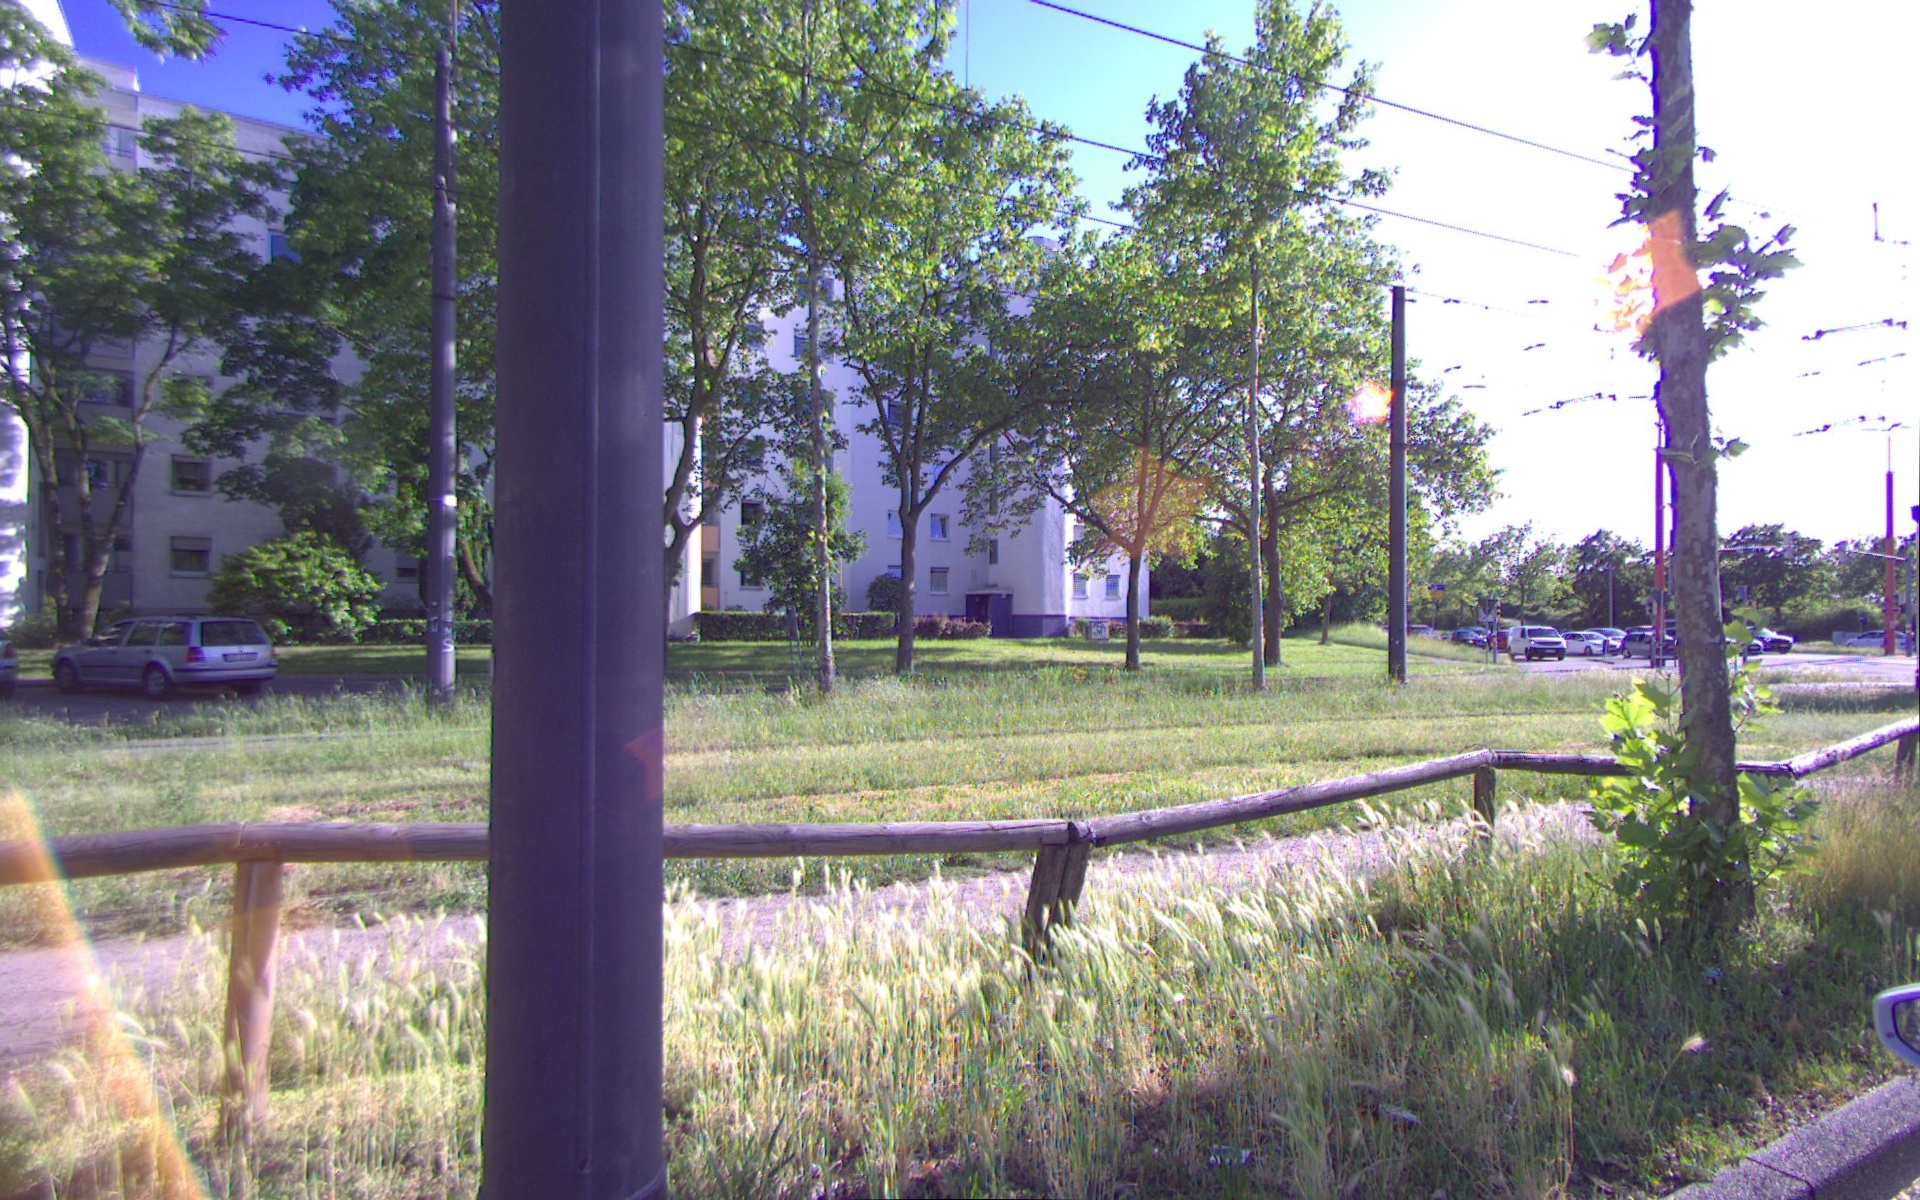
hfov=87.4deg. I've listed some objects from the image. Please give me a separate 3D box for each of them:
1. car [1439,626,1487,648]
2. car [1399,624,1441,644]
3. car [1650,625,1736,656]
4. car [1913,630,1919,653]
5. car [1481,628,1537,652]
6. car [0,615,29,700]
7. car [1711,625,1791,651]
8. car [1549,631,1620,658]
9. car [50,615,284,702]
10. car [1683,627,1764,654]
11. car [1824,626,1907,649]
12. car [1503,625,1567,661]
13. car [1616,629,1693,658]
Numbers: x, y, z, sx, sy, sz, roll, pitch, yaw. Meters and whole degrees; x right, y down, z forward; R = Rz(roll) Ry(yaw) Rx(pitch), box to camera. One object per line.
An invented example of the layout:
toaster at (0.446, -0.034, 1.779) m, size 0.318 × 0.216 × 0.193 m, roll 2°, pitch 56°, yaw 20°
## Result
car at (38.657, 2.817, 77.254) m, size 1.624 × 1.540 × 4.200 m, roll 1°, pitch -1°, yaw 1°
car at (38.639, 2.816, 84.394) m, size 1.624 × 1.540 × 4.200 m, roll 1°, pitch -1°, yaw 1°
car at (42.324, 2.308, 58.106) m, size 1.624 × 1.669 × 4.644 m, roll 1°, pitch -1°, yaw 1°
car at (63.258, 2.684, 63.704) m, size 1.625 × 1.491 × 4.130 m, roll 1°, pitch -1°, yaw -4°
car at (38.444, 2.777, 70.452) m, size 1.624 × 1.540 × 4.200 m, roll 1°, pitch -1°, yaw 1°
car at (-17.985, 0.946, 17.153) m, size 3.567 × 1.421 × 1.581 m, roll 1°, pitch 0°, yaw 20°
car at (48.650, 2.322, 61.897) m, size 1.513 × 1.434 × 4.154 m, roll 1°, pitch -1°, yaw -3°
car at (38.915, 2.756, 62.736) m, size 1.624 × 1.540 × 4.638 m, roll 1°, pitch -1°, yaw 1°
car at (-14.536, 1.009, 18.427) m, size 3.830 × 1.421 × 1.581 m, roll 1°, pitch 0°, yaw 20°
car at (45.572, 2.393, 60.063) m, size 1.513 × 1.434 × 4.154 m, roll 1°, pitch -1°, yaw -3°
car at (59.434, 2.446, 65.997) m, size 1.624 × 1.421 × 4.131 m, roll 1°, pitch -1°, yaw -2°
car at (32.974, 2.422, 57.747) m, size 1.796 × 1.845 × 4.905 m, roll 1°, pitch -1°, yaw 13°
car at (38.962, 2.407, 56.449) m, size 1.624 × 1.460 × 3.841 m, roll 1°, pitch -1°, yaw -2°
